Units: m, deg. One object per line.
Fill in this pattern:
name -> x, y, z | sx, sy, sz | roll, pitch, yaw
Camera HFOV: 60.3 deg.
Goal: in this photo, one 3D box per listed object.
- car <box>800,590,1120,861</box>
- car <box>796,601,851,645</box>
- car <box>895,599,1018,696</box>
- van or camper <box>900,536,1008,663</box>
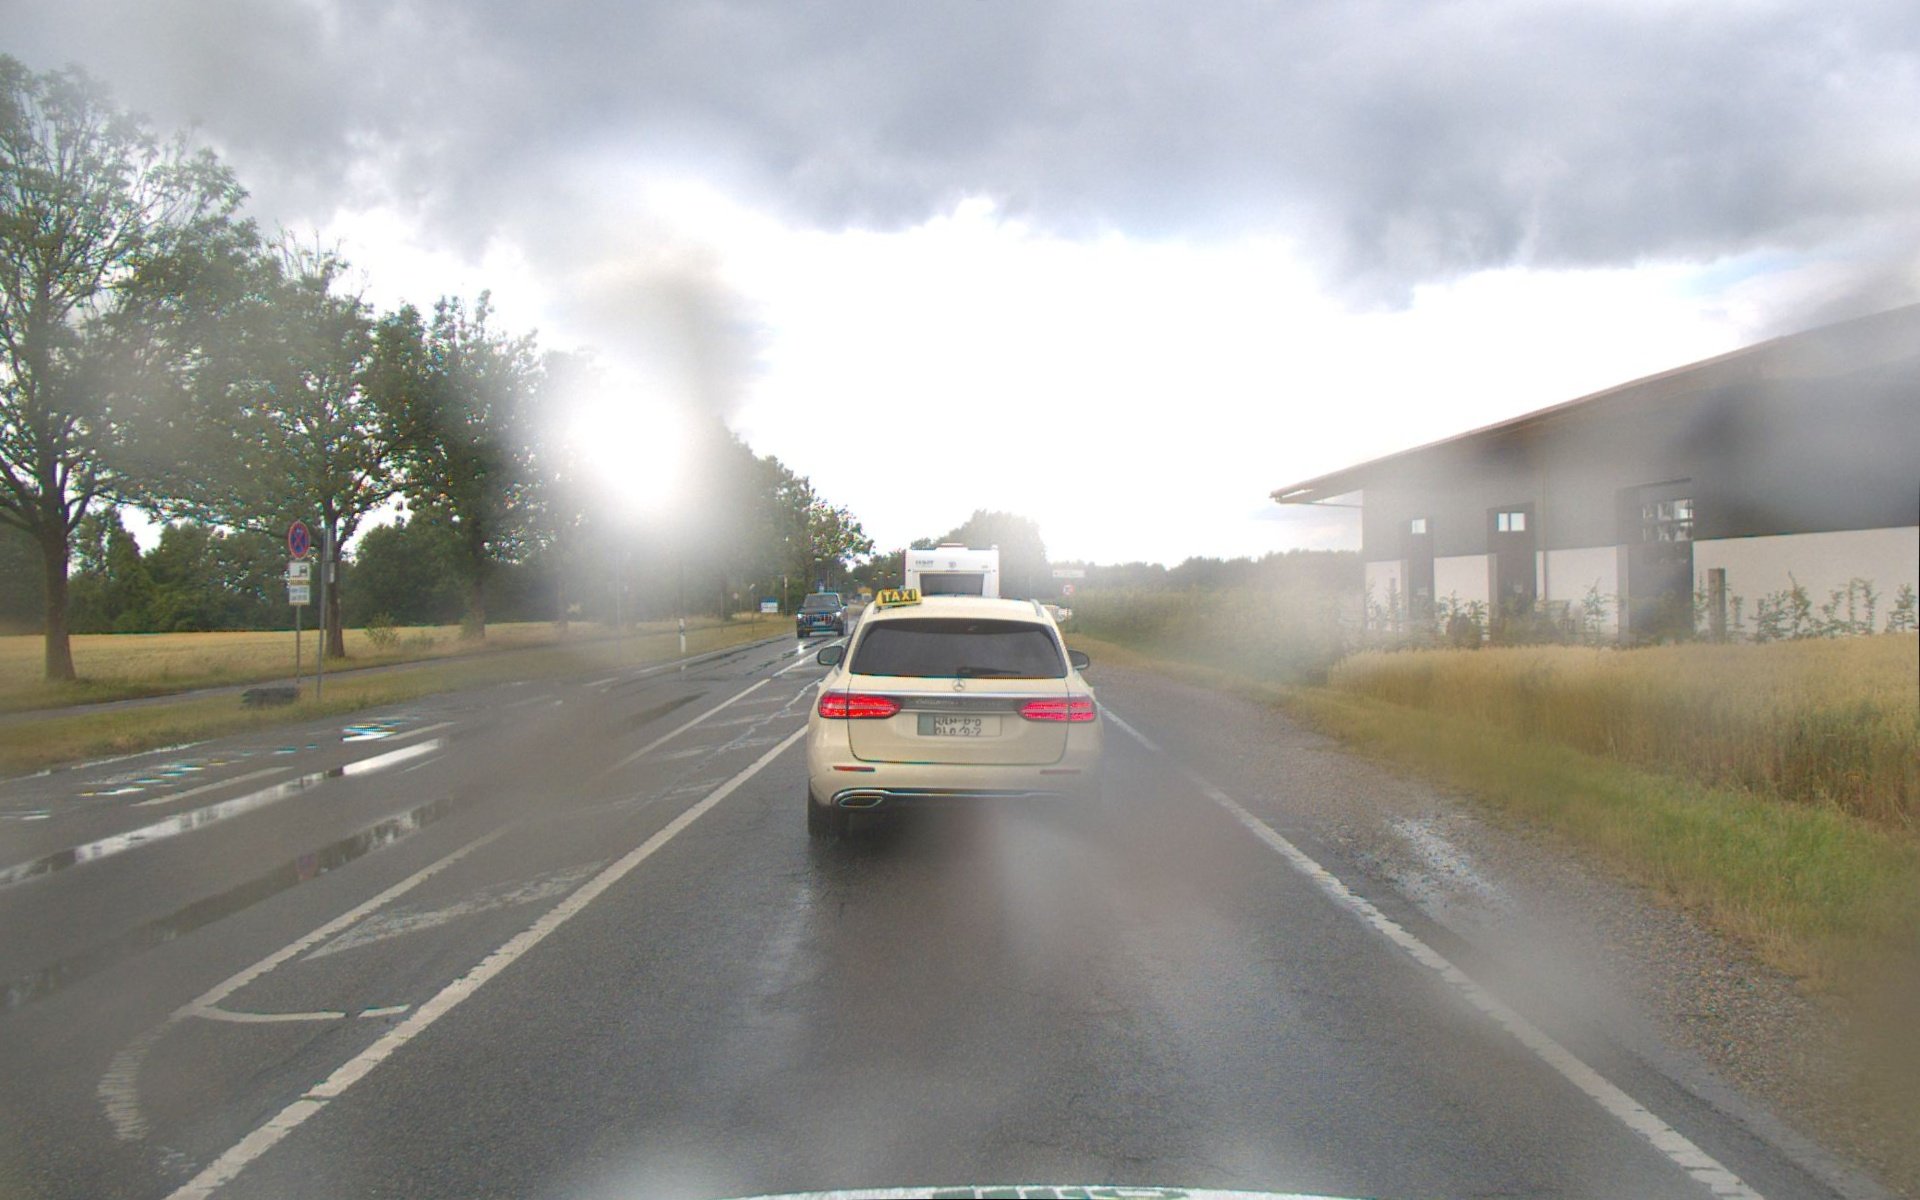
car -> -0.005, 0.683, 11.125 | 1.760, 1.490, 4.030 | 0, 0, 0
car -> -5.387, 0.897, 65.705 | 1.877, 1.660, 4.356 | 1, 0, -1
car -> -0.088, 0.712, 27.035 | 1.856, 1.454, 3.927 | 0, 0, -1
van or camper -> -0.117, -0.012, 41.745 | 2.446, 2.880, 5.934 | -2, 0, 0
